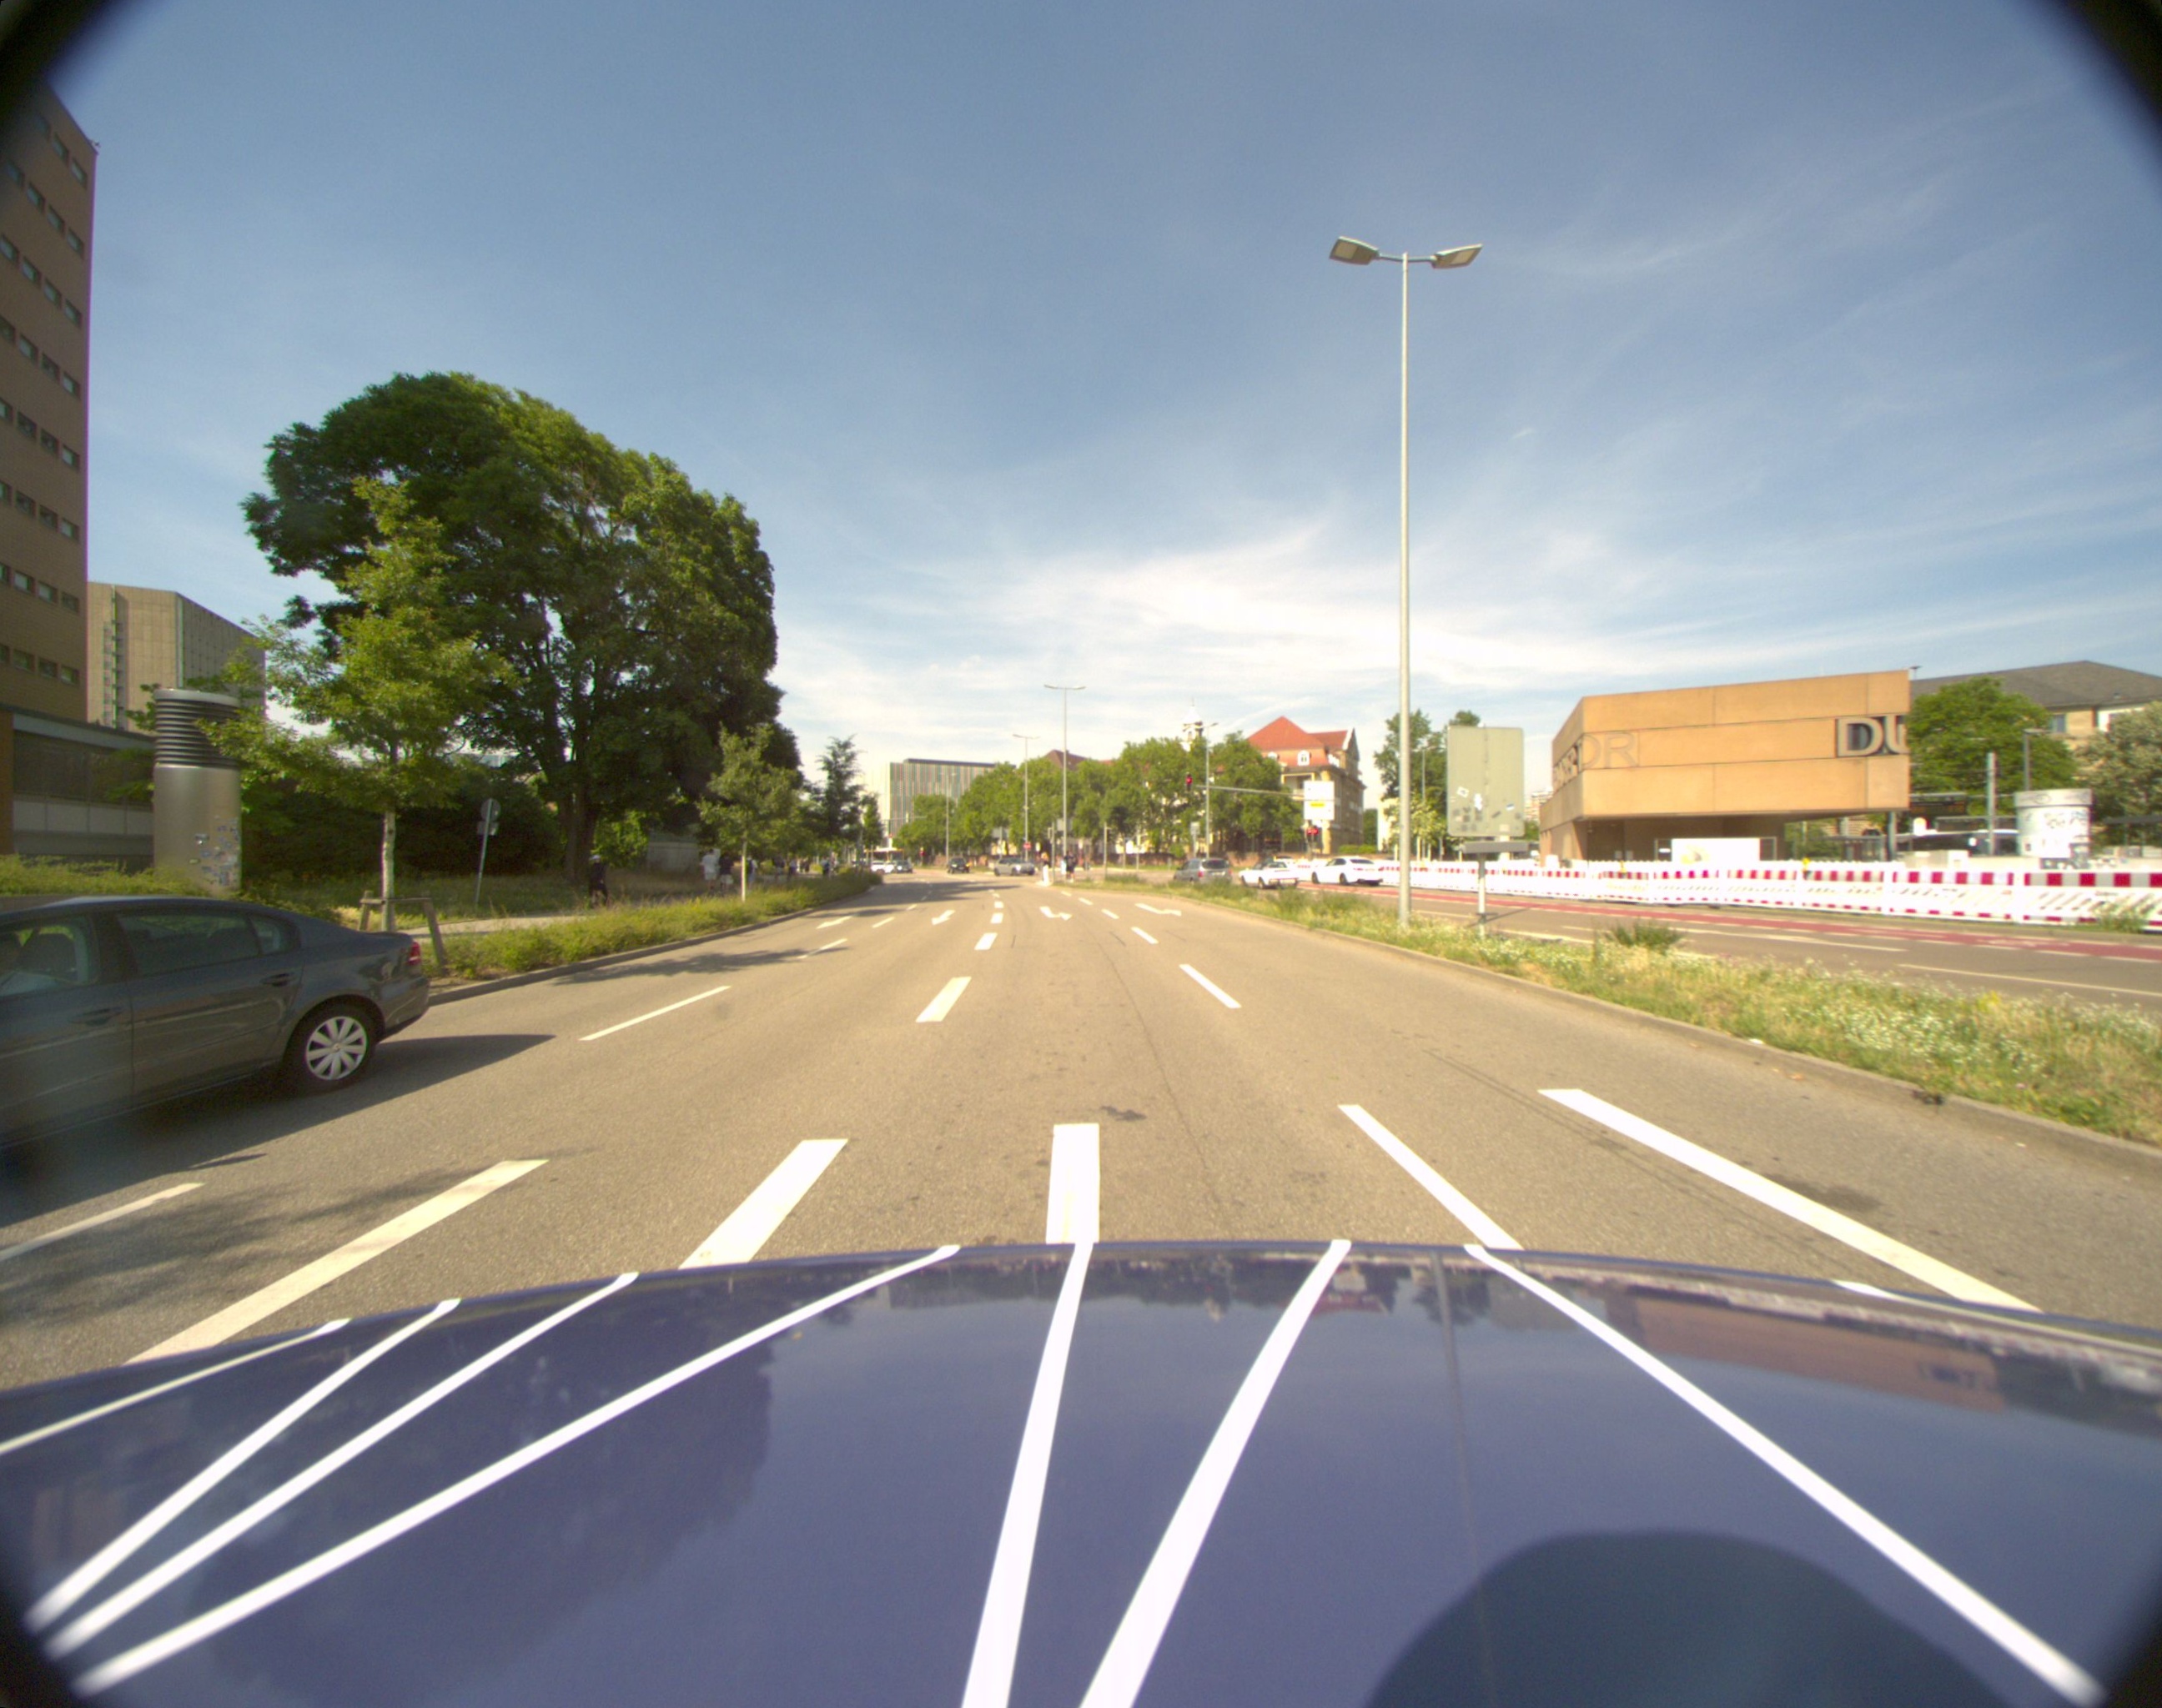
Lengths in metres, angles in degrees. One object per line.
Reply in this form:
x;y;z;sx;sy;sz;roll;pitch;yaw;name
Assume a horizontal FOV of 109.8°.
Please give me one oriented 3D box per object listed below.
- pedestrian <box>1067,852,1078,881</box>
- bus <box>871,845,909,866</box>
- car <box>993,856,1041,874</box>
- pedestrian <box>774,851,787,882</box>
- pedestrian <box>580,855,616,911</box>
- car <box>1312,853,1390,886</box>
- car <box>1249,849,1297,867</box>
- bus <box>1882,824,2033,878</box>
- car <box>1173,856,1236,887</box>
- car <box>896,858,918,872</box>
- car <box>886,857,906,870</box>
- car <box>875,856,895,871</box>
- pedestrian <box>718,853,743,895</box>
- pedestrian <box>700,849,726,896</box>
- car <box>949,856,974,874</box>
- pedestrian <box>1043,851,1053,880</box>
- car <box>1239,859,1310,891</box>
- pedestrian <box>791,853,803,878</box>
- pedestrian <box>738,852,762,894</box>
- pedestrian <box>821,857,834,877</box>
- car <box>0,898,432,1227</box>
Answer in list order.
-0.503;0.738;44.417;0.643;1.664;0.752;0;0;1;pedestrian
-29.040;0.185;114.950;2.801;3.020;12.121;0;0;-28;bus
-5.458;0.939;64.436;1.838;1.427;4.086;-3;1;-43;car
-17.188;0.695;43.463;0.644;1.754;0.474;1;1;-20;pedestrian
-14.604;0.856;22.990;0.592;1.654;0.731;1;1;1;pedestrian
13.110;0.706;37.112;1.804;1.412;3.996;-2;1;-10;car
17.860;0.375;70.564;4.117;1.435;1.756;-3;1;-24;car
59.543;-0.203;52.126;2.751;3.303;11.811;0;0;28;bus
5.653;0.755;35.229;1.600;1.279;3.996;-2;1;-10;car
-19.674;1.235;85.846;1.653;1.416;4.112;-3;1;-22;car
-22.262;1.151;91.190;1.653;1.416;4.112;-3;1;-22;car
-21.134;0.972;81.764;1.684;1.466;3.753;-3;1;-20;car
-13.955;0.799;30.241;0.643;1.617;0.731;1;1;1;pedestrian
-14.616;0.722;30.214;0.643;1.827;0.731;1;1;1;pedestrian
-12.505;1.114;79.112;1.761;1.719;4.106;-3;1;-20;car
-1.905;0.666;43.751;0.541;1.664;0.752;0;0;1;pedestrian
8.789;0.904;34.860;1.600;1.279;3.996;-2;1;-10;car
-16.380;0.672;43.788;0.644;1.438;0.568;1;1;-20;pedestrian
-13.413;0.741;30.806;0.643;1.664;0.752;1;1;1;pedestrian
-15.309;0.781;45.883;0.644;1.125;0.751;1;1;-15;pedestrian
-6.074;1.112;3.867;1.635;1.427;4.528;-1;1;-1;car
